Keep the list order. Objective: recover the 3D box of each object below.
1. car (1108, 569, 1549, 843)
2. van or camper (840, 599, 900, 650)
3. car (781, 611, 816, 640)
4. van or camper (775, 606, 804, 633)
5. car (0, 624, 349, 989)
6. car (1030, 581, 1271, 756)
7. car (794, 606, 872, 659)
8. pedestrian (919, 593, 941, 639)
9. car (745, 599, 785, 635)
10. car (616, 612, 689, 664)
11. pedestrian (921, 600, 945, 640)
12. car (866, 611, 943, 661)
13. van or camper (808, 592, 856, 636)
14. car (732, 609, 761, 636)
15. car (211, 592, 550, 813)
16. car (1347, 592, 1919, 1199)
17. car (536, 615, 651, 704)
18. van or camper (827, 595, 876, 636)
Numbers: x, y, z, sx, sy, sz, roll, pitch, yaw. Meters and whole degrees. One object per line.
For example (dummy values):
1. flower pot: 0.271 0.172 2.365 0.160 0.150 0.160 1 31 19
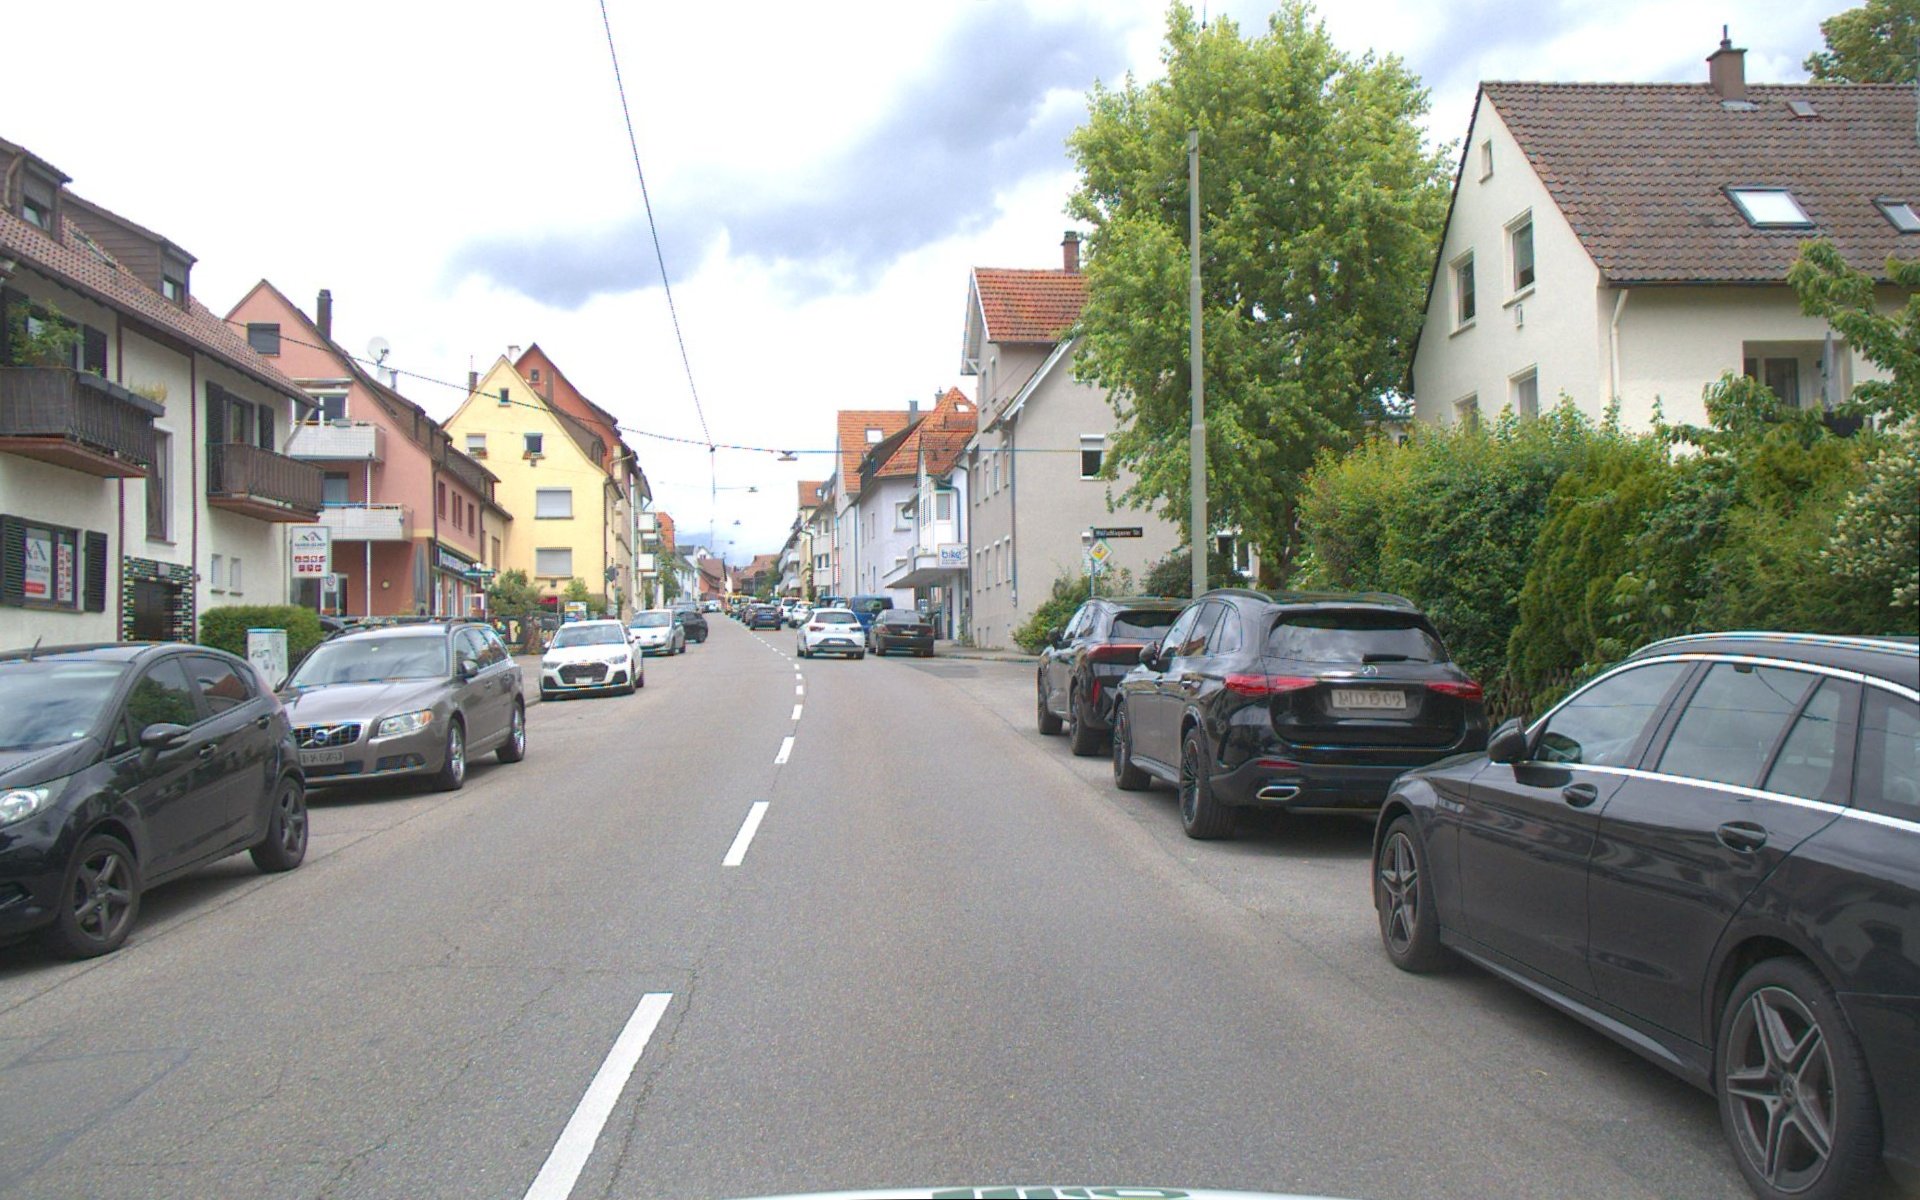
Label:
1. car: 2.444 0.673 12.263 1.954 1.644 4.535 1 -1 -4
2. van or camper: -3.625 0.937 65.936 1.891 1.959 4.820 0 0 -9
3. car: -10.469 1.621 107.057 1.905 1.722 3.991 2 0 -10
4. van or camper: -13.277 1.505 128.792 1.906 2.091 4.551 0 0 -11
5. car: -4.837 0.960 8.891 1.728 1.463 4.074 -5 0 -4
6. car: 1.925 0.683 18.042 1.775 1.644 4.535 1 -1 -4
7. car: -3.764 0.926 48.549 1.905 1.464 3.990 0 0 -10
8. pedestrian: -1.337 0.718 73.704 0.744 2.049 0.619 -1 -1 26
9. car: -11.481 0.974 97.335 2.113 2.049 3.991 0 0 -10
10. car: -10.587 1.283 57.234 1.797 1.605 4.030 -4 0 -2
11. pedestrian: -1.187 0.865 72.172 0.853 1.755 0.619 -1 -1 26
12. car: -1.899 1.146 54.615 1.957 1.544 4.881 1 -1 -9
13. van or camper: -6.645 0.700 85.395 1.956 2.102 5.932 1 0 -9
14. car: -16.557 1.765 128.166 2.113 2.049 3.991 0 0 -10
15. car: -5.383 0.867 16.085 1.811 1.709 4.782 -3 0 -4
16. car: 2.973 0.738 5.525 1.954 1.504 4.615 -1 -1 -4
17. car: -7.086 1.110 32.306 1.693 1.483 3.893 -4 0 -6
18. van or camper: -5.147 0.719 77.906 1.837 1.861 4.670 1 0 -9
